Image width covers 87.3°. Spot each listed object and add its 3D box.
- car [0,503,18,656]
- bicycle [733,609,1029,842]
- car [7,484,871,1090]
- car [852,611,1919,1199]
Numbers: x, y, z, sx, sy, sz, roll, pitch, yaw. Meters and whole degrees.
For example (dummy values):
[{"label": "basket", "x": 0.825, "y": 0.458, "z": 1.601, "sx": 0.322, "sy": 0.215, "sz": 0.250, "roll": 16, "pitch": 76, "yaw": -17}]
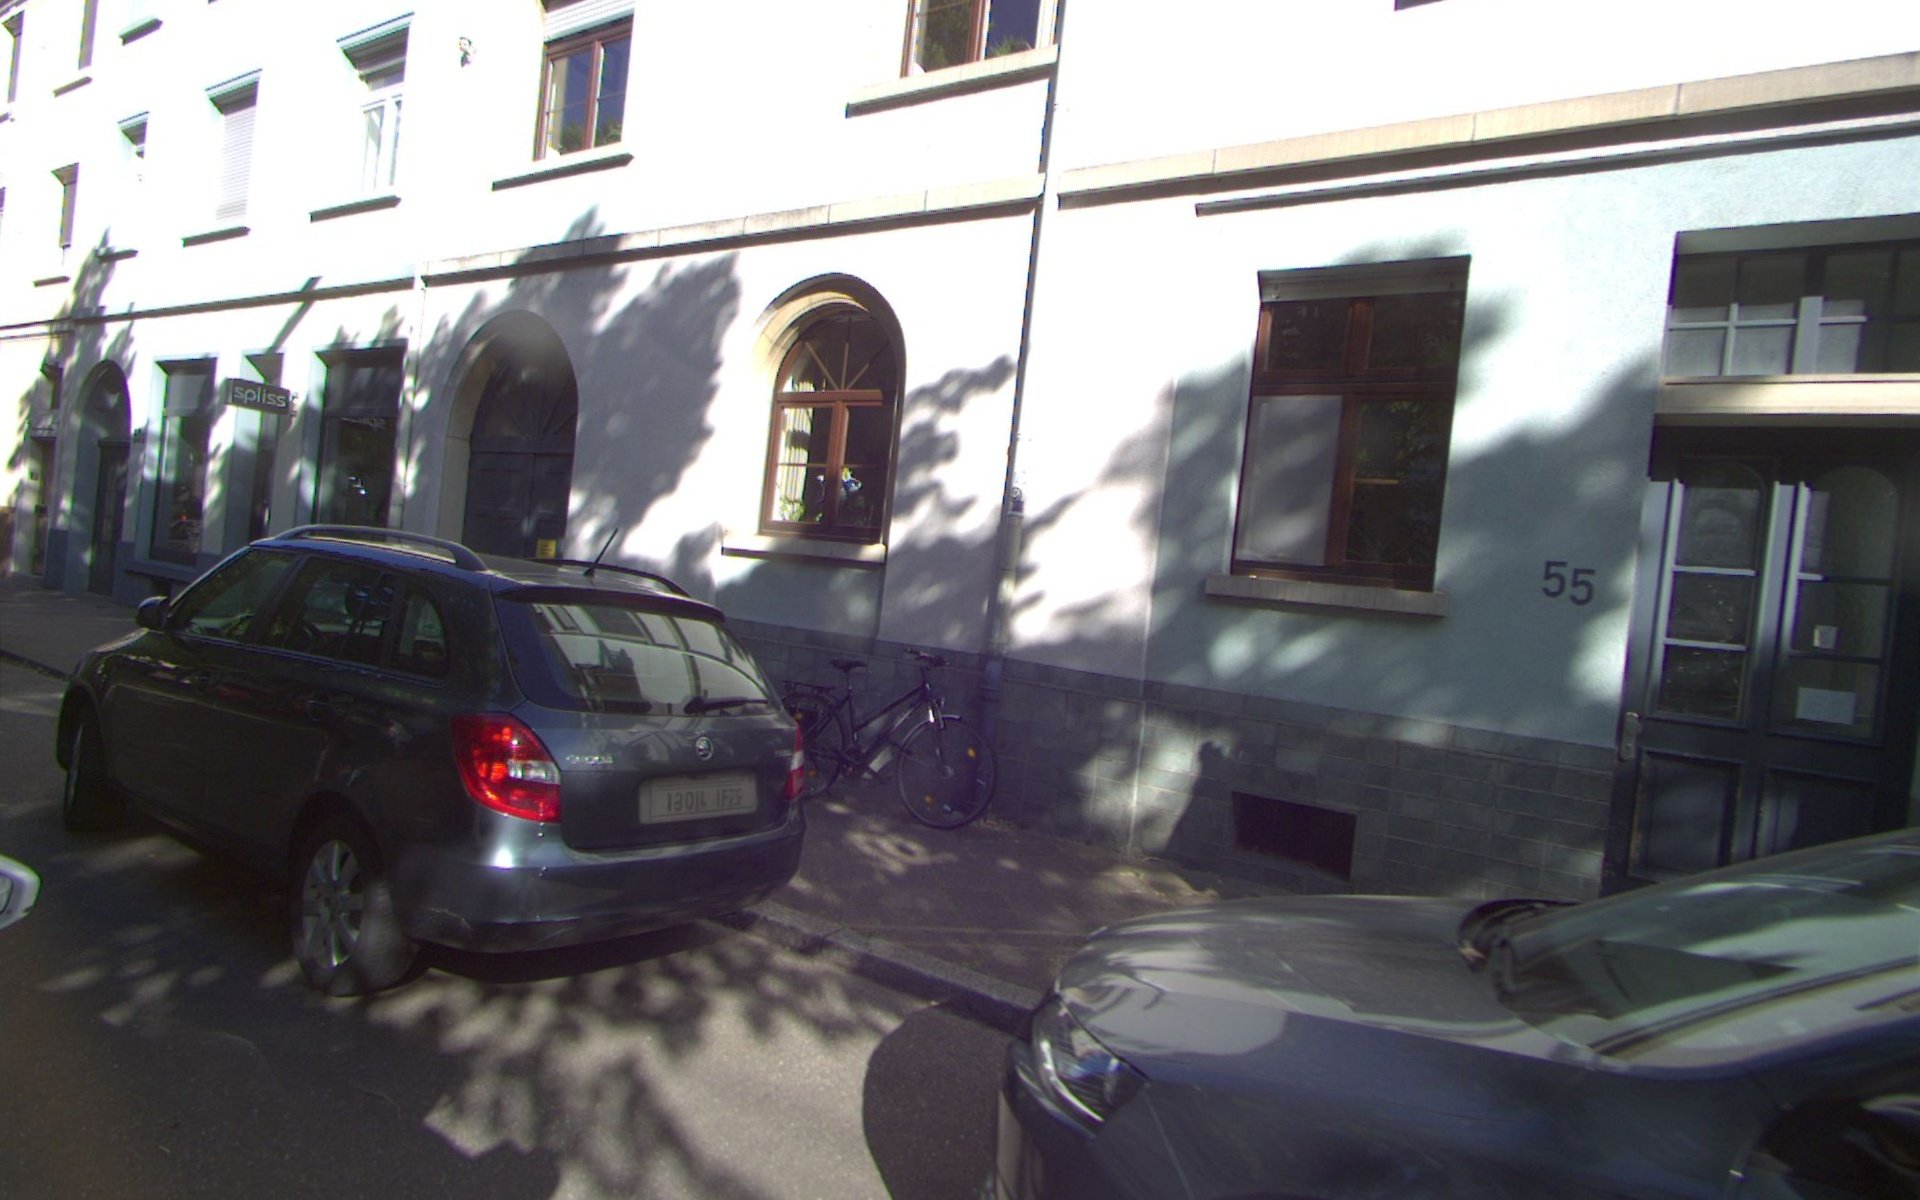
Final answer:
[{"label": "car", "x": -11.077, "y": -0.442, "z": 9.712, "sx": 4.220, "sy": 1.448, "sz": 1.772, "roll": 7, "pitch": -1, "yaw": 32}, {"label": "bicycle", "x": -0.539, "y": 0.769, "z": 6.560, "sx": 1.814, "sy": 1.201, "sz": 0.408, "roll": 7, "pitch": 0, "yaw": 22}, {"label": "car", "x": -2.530, "y": 0.463, "z": 4.544, "sx": 3.976, "sy": 1.569, "sz": 1.582, "roll": 7, "pitch": -1, "yaw": 33}, {"label": "car", "x": 1.908, "y": 1.012, "z": 1.601, "sx": 3.899, "sy": 1.511, "sz": 1.602, "roll": 7, "pitch": 0, "yaw": 29}]
